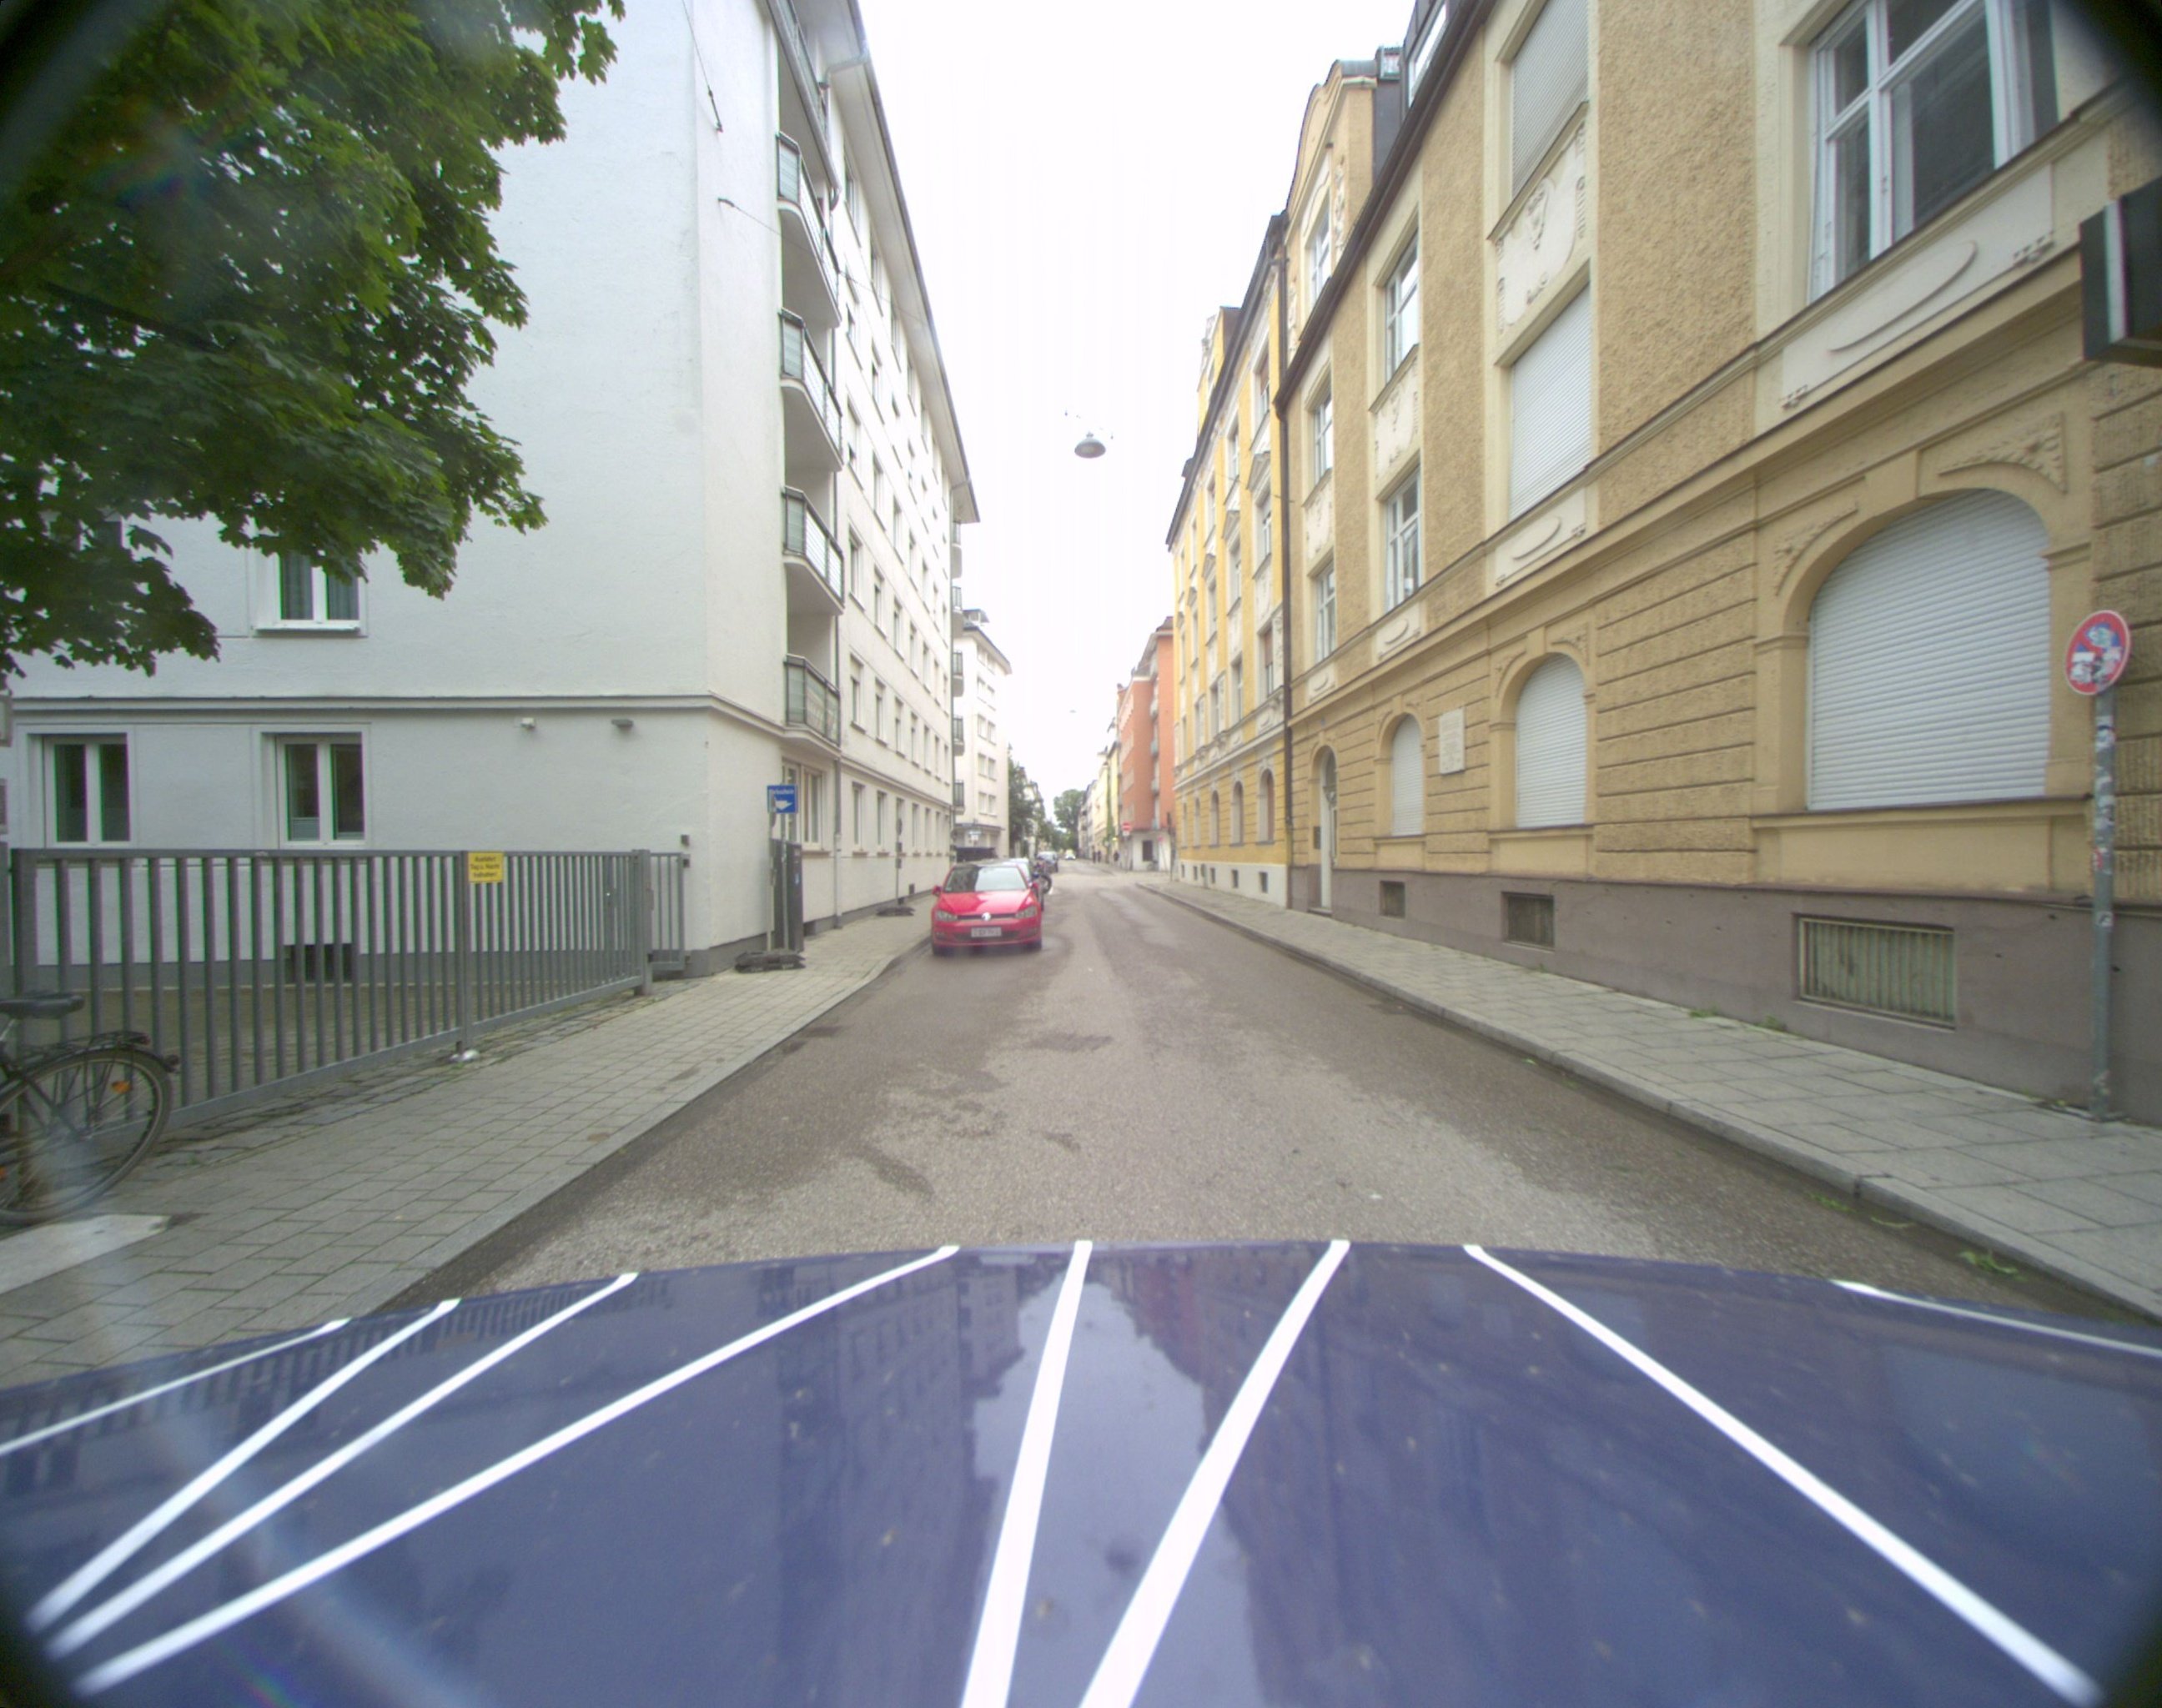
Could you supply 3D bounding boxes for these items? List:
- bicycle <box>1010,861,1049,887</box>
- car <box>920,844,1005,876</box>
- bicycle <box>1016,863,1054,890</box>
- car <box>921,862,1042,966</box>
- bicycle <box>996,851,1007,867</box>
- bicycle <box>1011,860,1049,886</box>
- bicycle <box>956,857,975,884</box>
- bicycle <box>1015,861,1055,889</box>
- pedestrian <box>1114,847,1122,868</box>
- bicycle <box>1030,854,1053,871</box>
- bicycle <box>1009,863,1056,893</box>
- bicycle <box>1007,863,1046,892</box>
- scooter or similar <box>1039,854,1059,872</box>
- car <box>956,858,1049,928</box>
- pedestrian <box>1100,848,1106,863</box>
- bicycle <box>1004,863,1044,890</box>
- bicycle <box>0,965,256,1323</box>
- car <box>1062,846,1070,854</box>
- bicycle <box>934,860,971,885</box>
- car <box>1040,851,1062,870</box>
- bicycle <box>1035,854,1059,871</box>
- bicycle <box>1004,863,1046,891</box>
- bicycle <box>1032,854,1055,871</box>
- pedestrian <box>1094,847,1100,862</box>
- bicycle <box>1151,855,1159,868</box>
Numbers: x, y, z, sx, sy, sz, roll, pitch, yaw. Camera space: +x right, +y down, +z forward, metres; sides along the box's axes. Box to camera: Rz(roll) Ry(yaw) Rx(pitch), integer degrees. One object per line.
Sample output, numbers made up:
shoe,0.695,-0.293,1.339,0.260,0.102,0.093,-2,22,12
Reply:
bicycle,-2.278,0.879,33.776,1.700,1.154,0.313,0,1,-2
car,-7.140,0.370,46.050,4.677,1.880,1.935,0,0,7
bicycle,-1.839,0.889,30.379,1.441,1.037,0.360,2,1,7
car,-1.759,0.924,13.619,1.766,1.438,4.295,-2,1,-7
bicycle,-5.850,0.366,55.954,0.528,1.207,1.610,0,1,7
bicycle,-2.294,0.856,34.105,1.700,1.154,0.313,0,1,-2
bicycle,-5.262,0.736,34.664,0.399,1.198,1.502,1,1,-26
bicycle,-1.931,0.888,32.047,1.700,1.154,0.378,0,1,-2
pedestrian,3.054,0.309,62.352,0.613,1.684,0.565,0,1,-2
bicycle,-2.861,0.601,54.691,1.608,1.207,0.529,0,1,1
bicycle,-1.816,0.905,28.662,1.707,1.037,0.360,2,1,-1
bicycle,-2.075,0.898,29.122,1.438,1.037,0.330,2,1,7
scooter or similar,-2.207,0.633,52.147,1.340,1.207,0.344,0,1,1
car,-1.826,0.865,18.899,1.799,1.430,4.382,-2,1,0
pedestrian,2.655,0.195,91.839,0.699,1.783,0.763,0,1,-1
bicycle,-2.240,0.885,30.031,1.520,1.037,0.360,2,1,7
bicycle,-4.217,1.079,2.630,0.709,1.191,1.834,0,-2,-1
car,-3.923,-0.989,202.375,1.999,2.002,4.645,-1,0,-2
bicycle,-5.538,0.786,32.808,1.503,1.037,0.398,1,1,-20
car,-2.355,0.471,59.967,1.654,1.390,3.999,0,1,-1
bicycle,-2.398,0.616,53.569,1.608,1.207,0.529,0,1,1
bicycle,-2.169,0.894,29.482,1.590,1.037,0.323,2,1,7
bicycle,-2.644,0.609,54.134,1.608,1.207,0.529,0,1,1
pedestrian,1.941,0.038,91.746,0.726,1.783,0.829,0,1,-1
bicycle,5.276,0.543,54.302,0.391,0.932,1.539,0,0,-1
